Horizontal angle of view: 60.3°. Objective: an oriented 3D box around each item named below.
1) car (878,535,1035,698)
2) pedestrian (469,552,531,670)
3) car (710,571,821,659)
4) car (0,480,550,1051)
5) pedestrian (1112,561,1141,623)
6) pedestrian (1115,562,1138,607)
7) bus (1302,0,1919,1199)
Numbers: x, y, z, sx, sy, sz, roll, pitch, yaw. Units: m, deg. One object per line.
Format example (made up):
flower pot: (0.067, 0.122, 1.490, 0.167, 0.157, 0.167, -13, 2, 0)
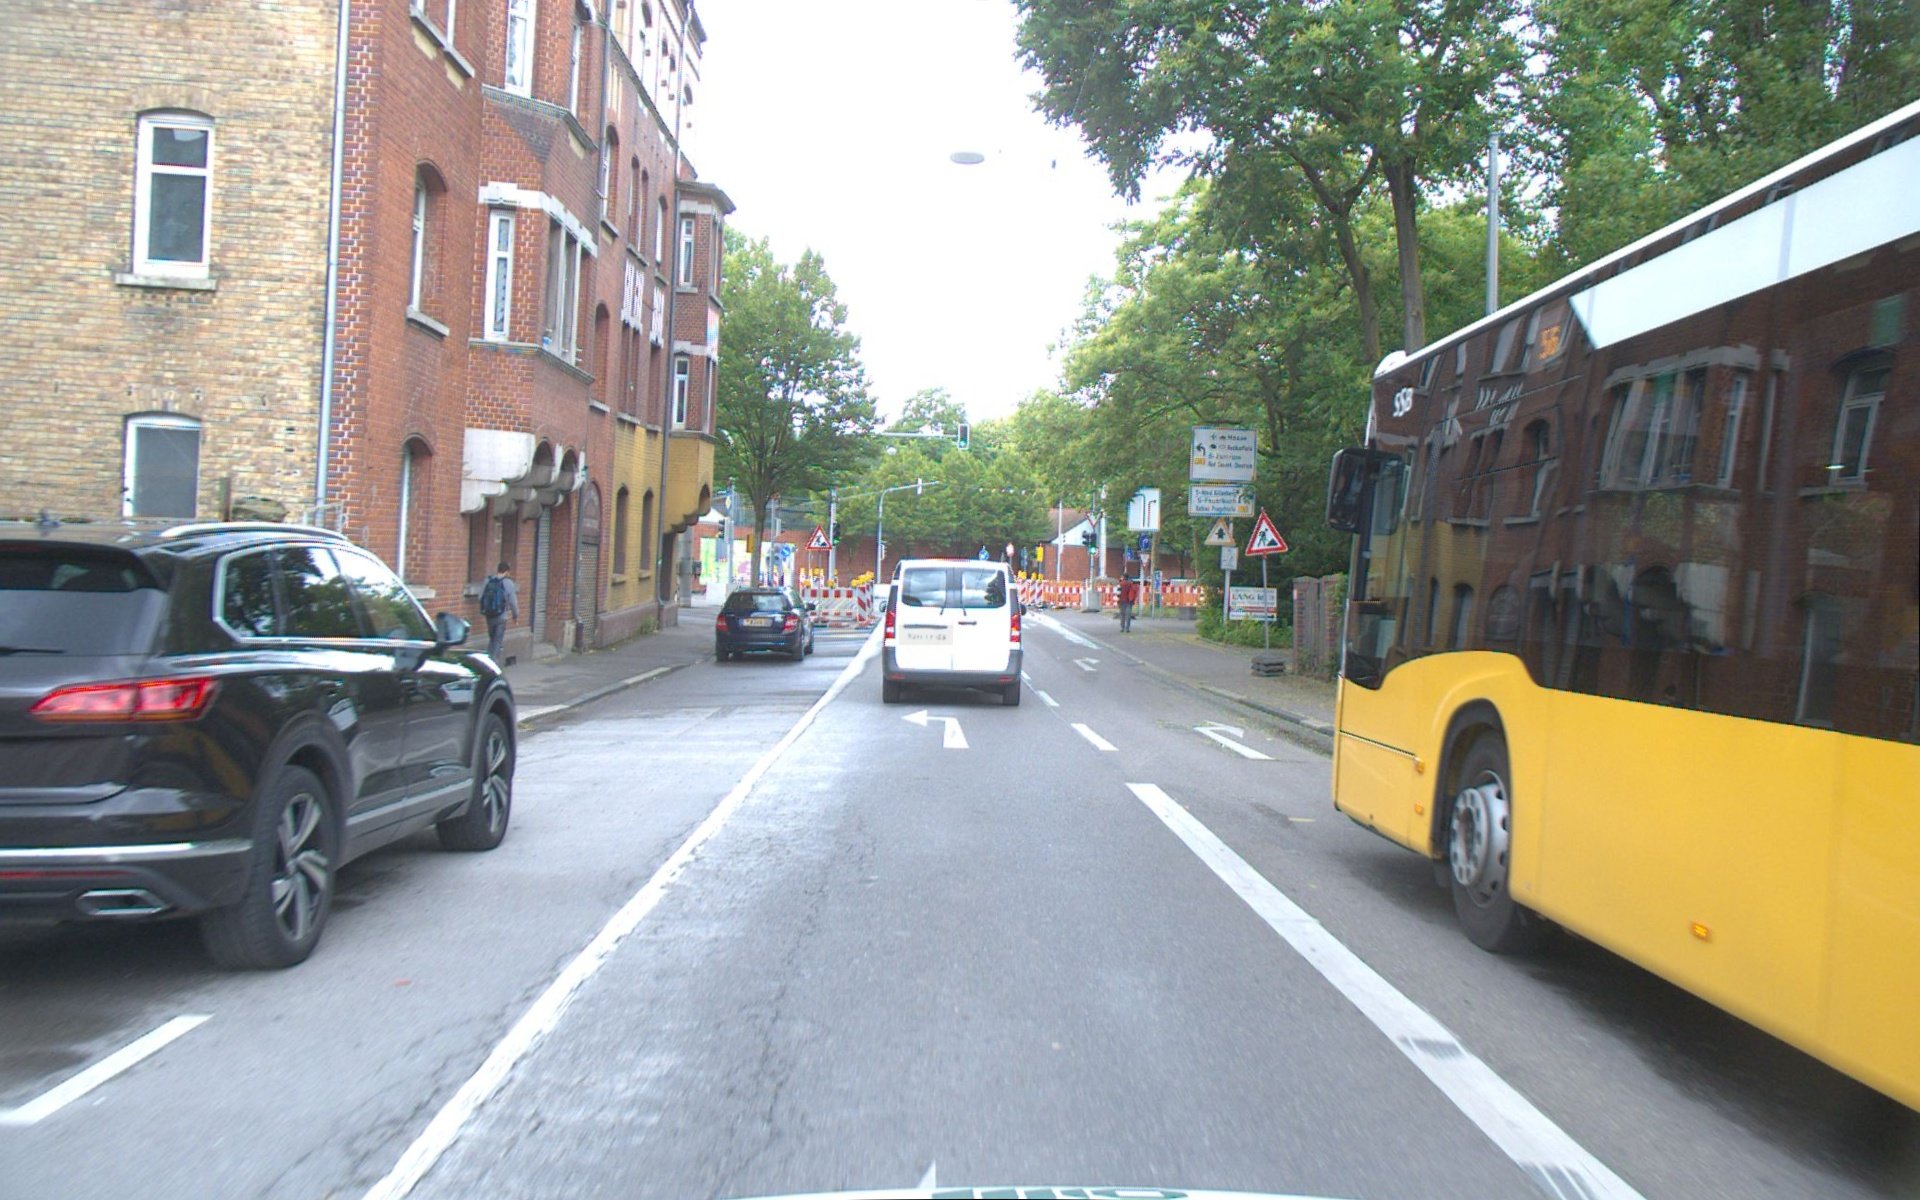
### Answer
car: (-0.117, 0.253, 23.305, 1.879, 1.934, 4.699, 4, -1, -2)
pedestrian: (-6.637, 0.151, 23.885, 0.646, 1.637, 0.632, 3, 1, -1)
car: (-3.926, 0.252, 34.004, 1.689, 1.511, 4.391, 2, 2, 0)
car: (-3.400, 0.453, 7.521, 1.914, 1.764, 4.773, 2, 1, -1)
pedestrian: (5.027, -0.253, 49.988, 0.763, 1.863, 0.727, -1, 1, -1)
pedestrian: (6.542, -0.609, 64.930, 0.717, 1.727, 0.836, 0, 1, -9)
bus: (3.650, 0.025, 6.019, 2.618, 3.193, 9.216, 3, 1, -1)
